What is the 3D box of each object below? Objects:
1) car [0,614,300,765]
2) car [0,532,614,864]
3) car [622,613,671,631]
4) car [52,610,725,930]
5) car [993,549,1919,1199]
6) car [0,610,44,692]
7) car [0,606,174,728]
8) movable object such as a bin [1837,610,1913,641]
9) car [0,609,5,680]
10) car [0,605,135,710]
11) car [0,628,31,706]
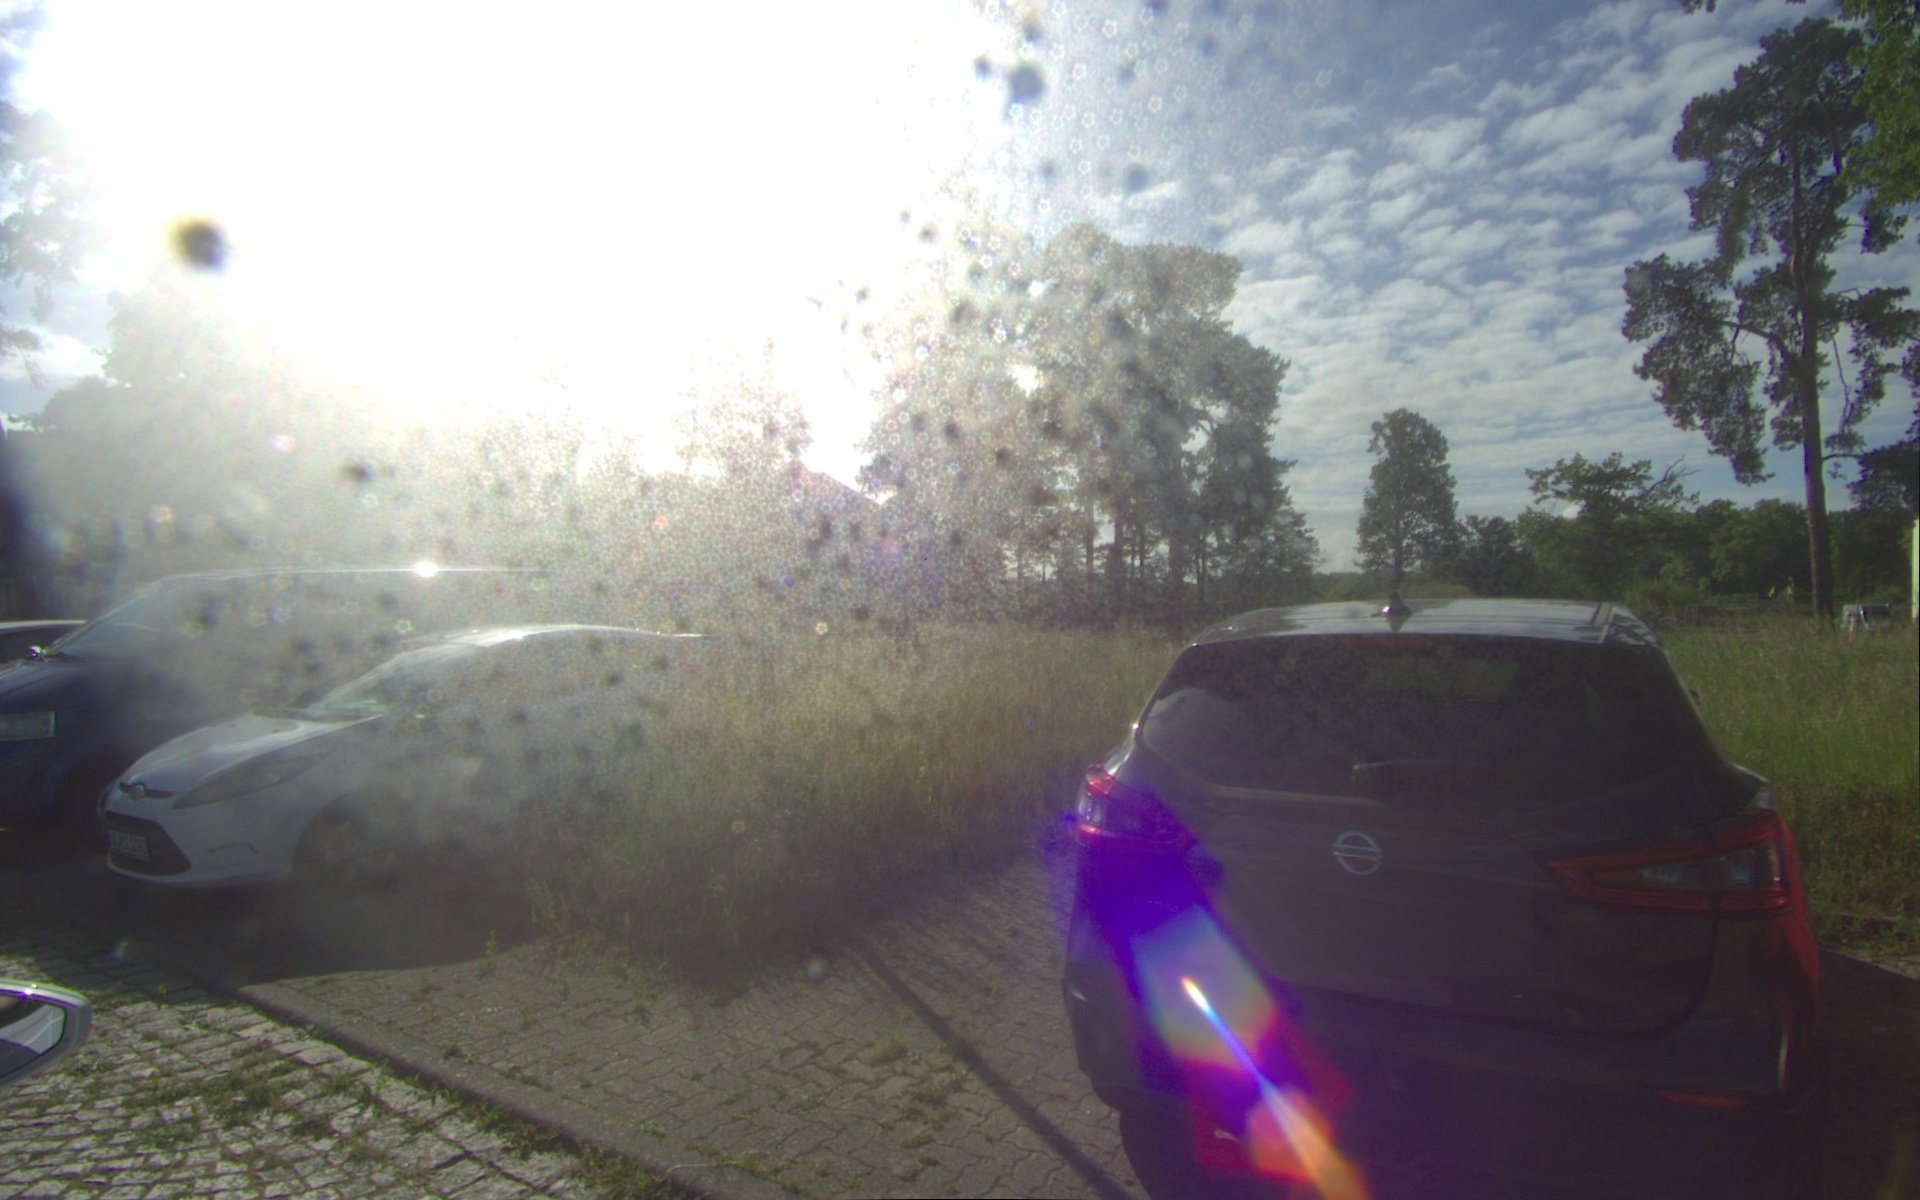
[{"bbox_3d":[-9.863,0.927,11.360,1.611,1.511,3.637,0,0,33],"label":"car"},{"bbox_3d":[-5.556,0.558,8.496,1.972,2.041,4.742,0,1,33],"label":"car"},{"bbox_3d":[-26.239,1.836,83.774,1.743,1.517,3.626,0,-1,35],"label":"car"},{"bbox_3d":[-3.517,0.847,6.878,1.586,1.486,3.714,0,1,30],"label":"car"},{"bbox_3d":[1.874,0.748,3.798,1.760,1.632,4.100,0,0,31],"label":"car"},{"bbox_3d":[-18.701,0.924,17.280,1.631,1.468,3.971,0,0,32],"label":"car"},{"bbox_3d":[-12.505,0.837,12.588,1.733,1.470,3.770,0,1,34],"label":"car"},{"bbox_3d":[64.260,1.738,70.445,2.087,2.040,5.723,0,0,23],"label":"movable object such as a bin"},{"bbox_3d":[-20.760,0.899,18.353,1.763,1.407,4.390,0,1,31],"label":"car"},{"bbox_3d":[-14.600,0.854,14.575,1.643,1.474,3.654,0,1,32],"label":"car"},{"bbox_3d":[-16.988,1.082,15.582,1.515,1.258,3.454,0,-1,33],"label":"car"}]
